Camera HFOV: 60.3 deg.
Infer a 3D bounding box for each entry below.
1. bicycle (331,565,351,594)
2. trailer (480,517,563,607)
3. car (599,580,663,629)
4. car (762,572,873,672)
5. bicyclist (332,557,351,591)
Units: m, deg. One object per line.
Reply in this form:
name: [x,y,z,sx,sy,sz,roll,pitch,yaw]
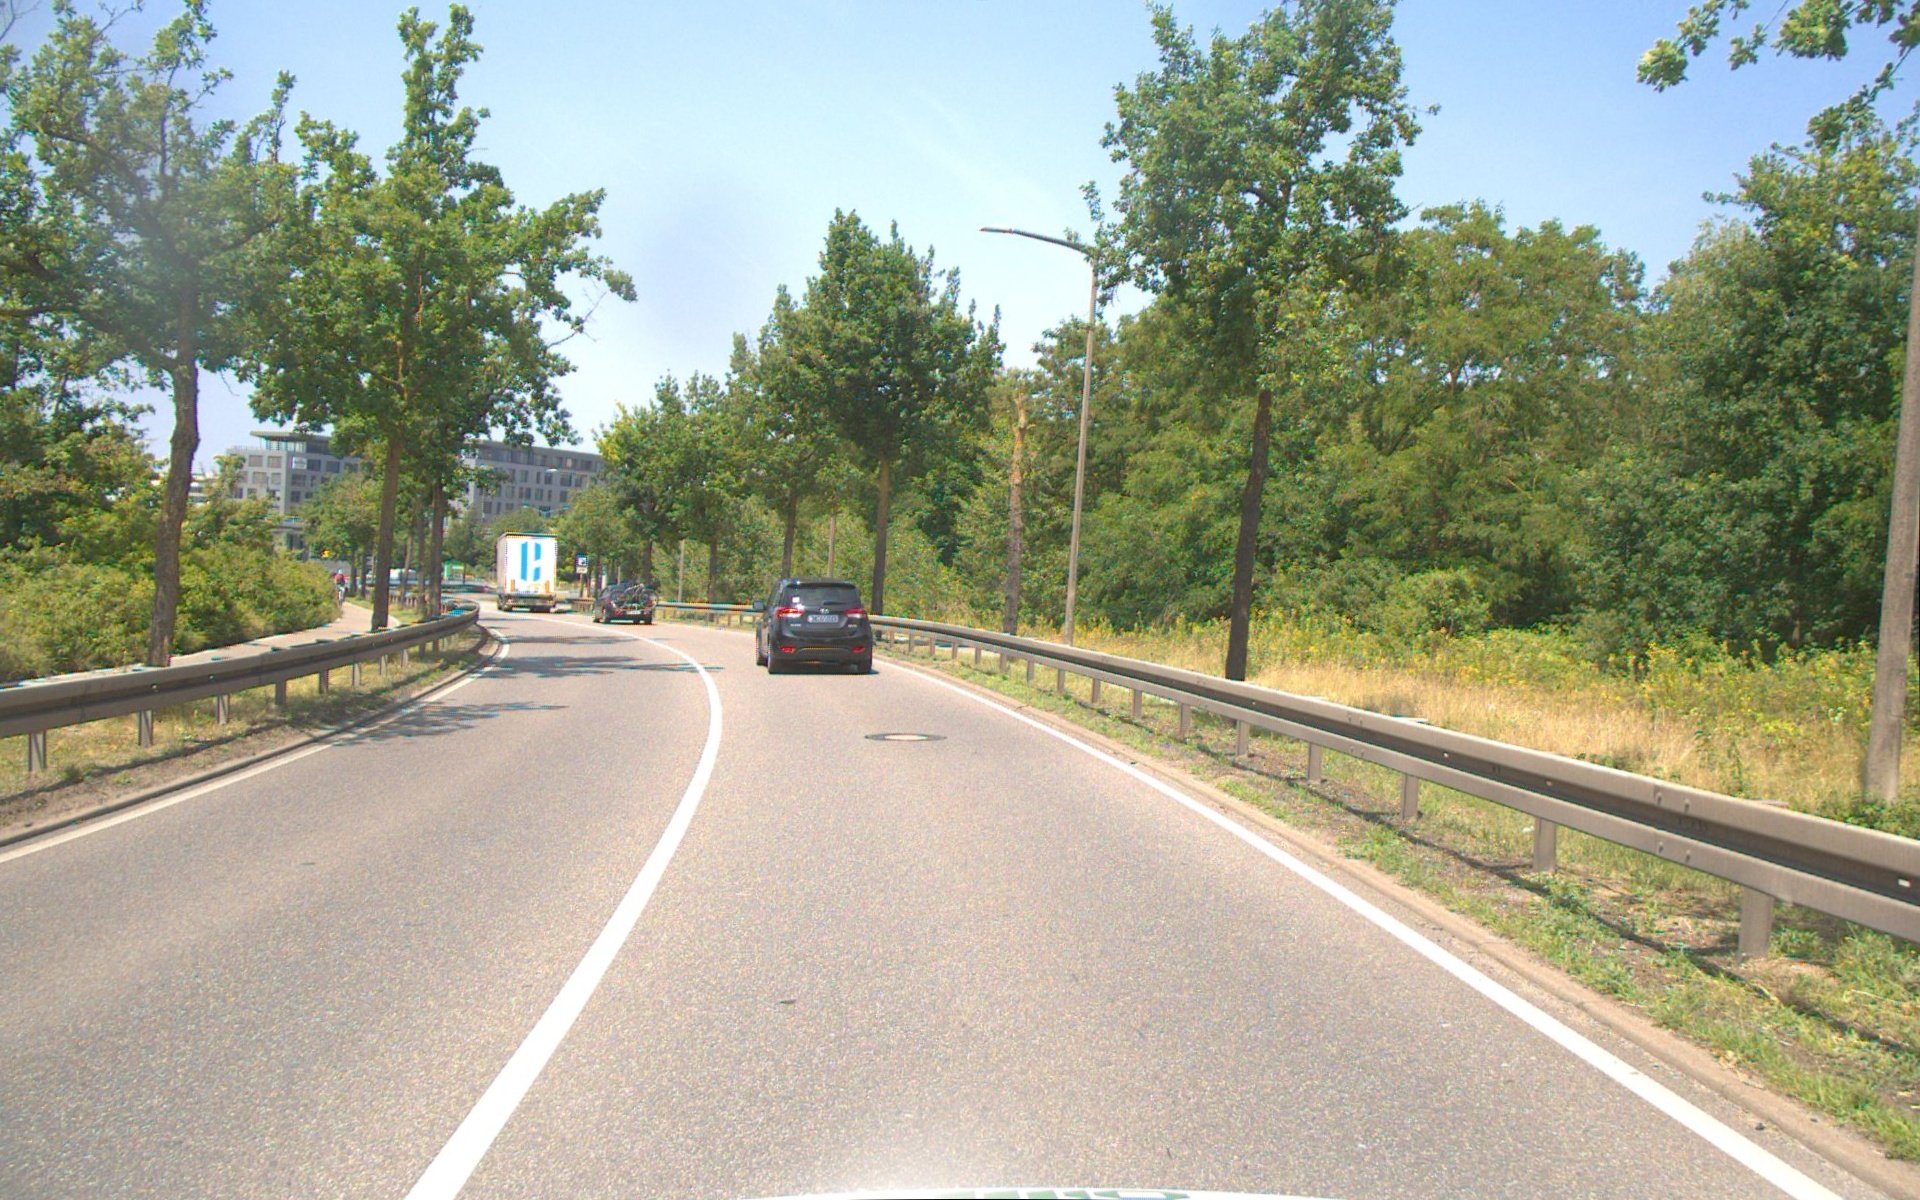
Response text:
bicycle: [-28.474,-0.948,76.072,0.725,1.304,2.030,2,0,-24]
trailer: [-24.319,-2.142,91.088,3.032,4.444,14.691,3,1,-20]
car: [-12.090,0.151,60.601,1.925,1.662,4.261,2,0,-16]
car: [-2.551,0.324,28.924,1.734,1.627,4.071,0,1,-8]
bicyclist: [-28.456,-1.203,76.060,0.732,1.515,0.751,2,-1,-25]
